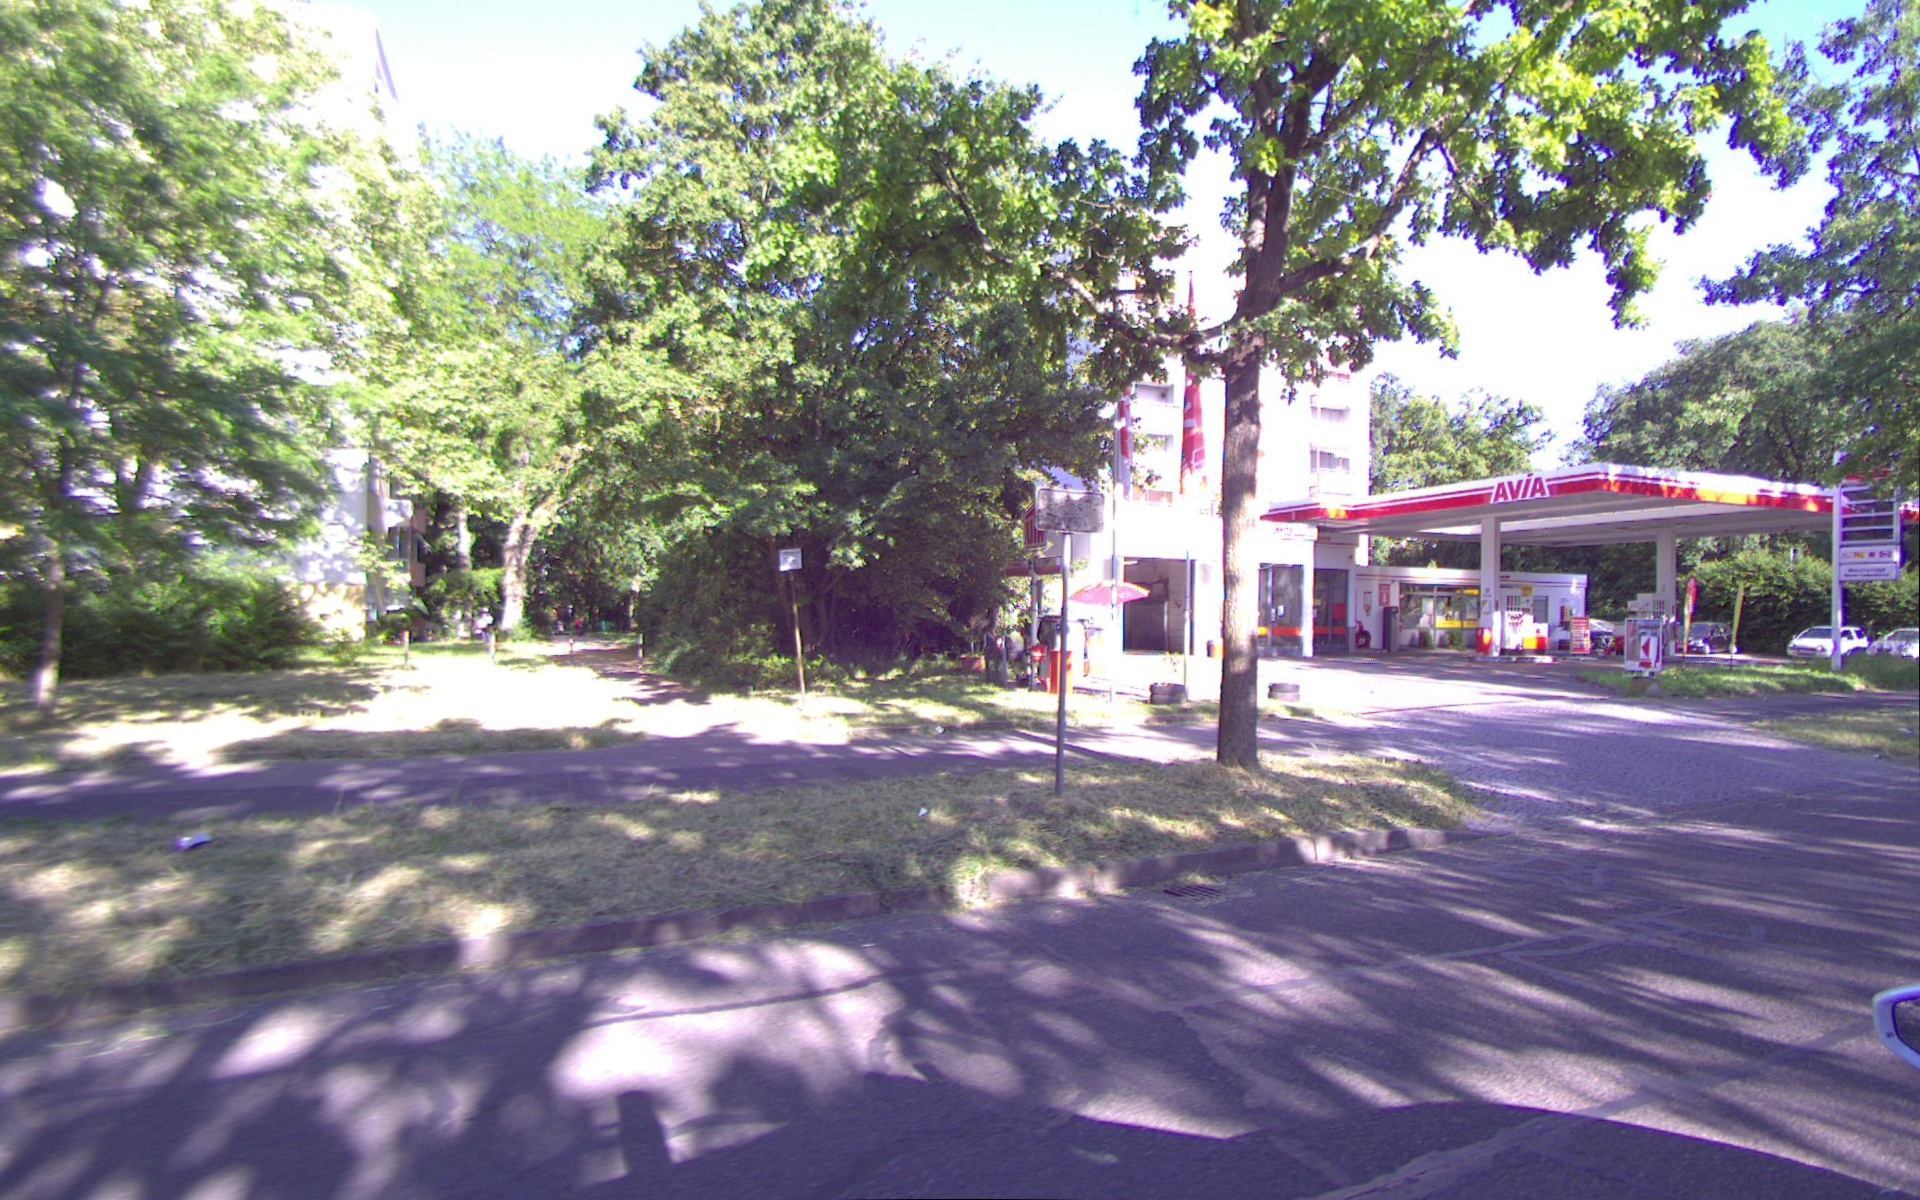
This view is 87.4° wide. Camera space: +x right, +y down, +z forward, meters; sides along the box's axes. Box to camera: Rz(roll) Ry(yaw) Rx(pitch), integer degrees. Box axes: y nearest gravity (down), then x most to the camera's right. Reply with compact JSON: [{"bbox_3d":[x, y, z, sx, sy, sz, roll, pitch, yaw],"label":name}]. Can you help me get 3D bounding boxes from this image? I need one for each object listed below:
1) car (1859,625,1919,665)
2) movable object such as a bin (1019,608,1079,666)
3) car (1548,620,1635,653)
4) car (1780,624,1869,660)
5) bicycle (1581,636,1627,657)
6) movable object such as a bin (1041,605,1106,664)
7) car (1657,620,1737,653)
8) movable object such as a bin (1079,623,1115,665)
[{"bbox_3d":[37.246,1.761,39.388,3.434,1.441,1.544,1,1,-21],"label":"car"},{"bbox_3d":[2.502,1.037,28.460,1.149,1.562,1.299,1,0,-27],"label":"movable object such as a bin"},{"bbox_3d":[29.923,1.717,47.707,1.561,1.419,3.190,1,1,-20],"label":"car"},{"bbox_3d":[35.899,1.728,41.723,3.157,1.386,1.420,1,1,-21],"label":"car"},{"bbox_3d":[27.334,1.970,42.629,1.749,0.818,0.618,1,-1,-14],"label":"bicycle"},{"bbox_3d":[3.107,0.924,27.529,1.252,1.562,1.299,1,-1,-28],"label":"movable object such as a bin"},{"bbox_3d":[33.448,1.667,45.600,3.157,1.386,1.420,1,1,-21],"label":"car"},{"bbox_3d":[3.632,1.171,26.687,0.758,1.100,0.566,1,-1,-28],"label":"movable object such as a bin"}]
